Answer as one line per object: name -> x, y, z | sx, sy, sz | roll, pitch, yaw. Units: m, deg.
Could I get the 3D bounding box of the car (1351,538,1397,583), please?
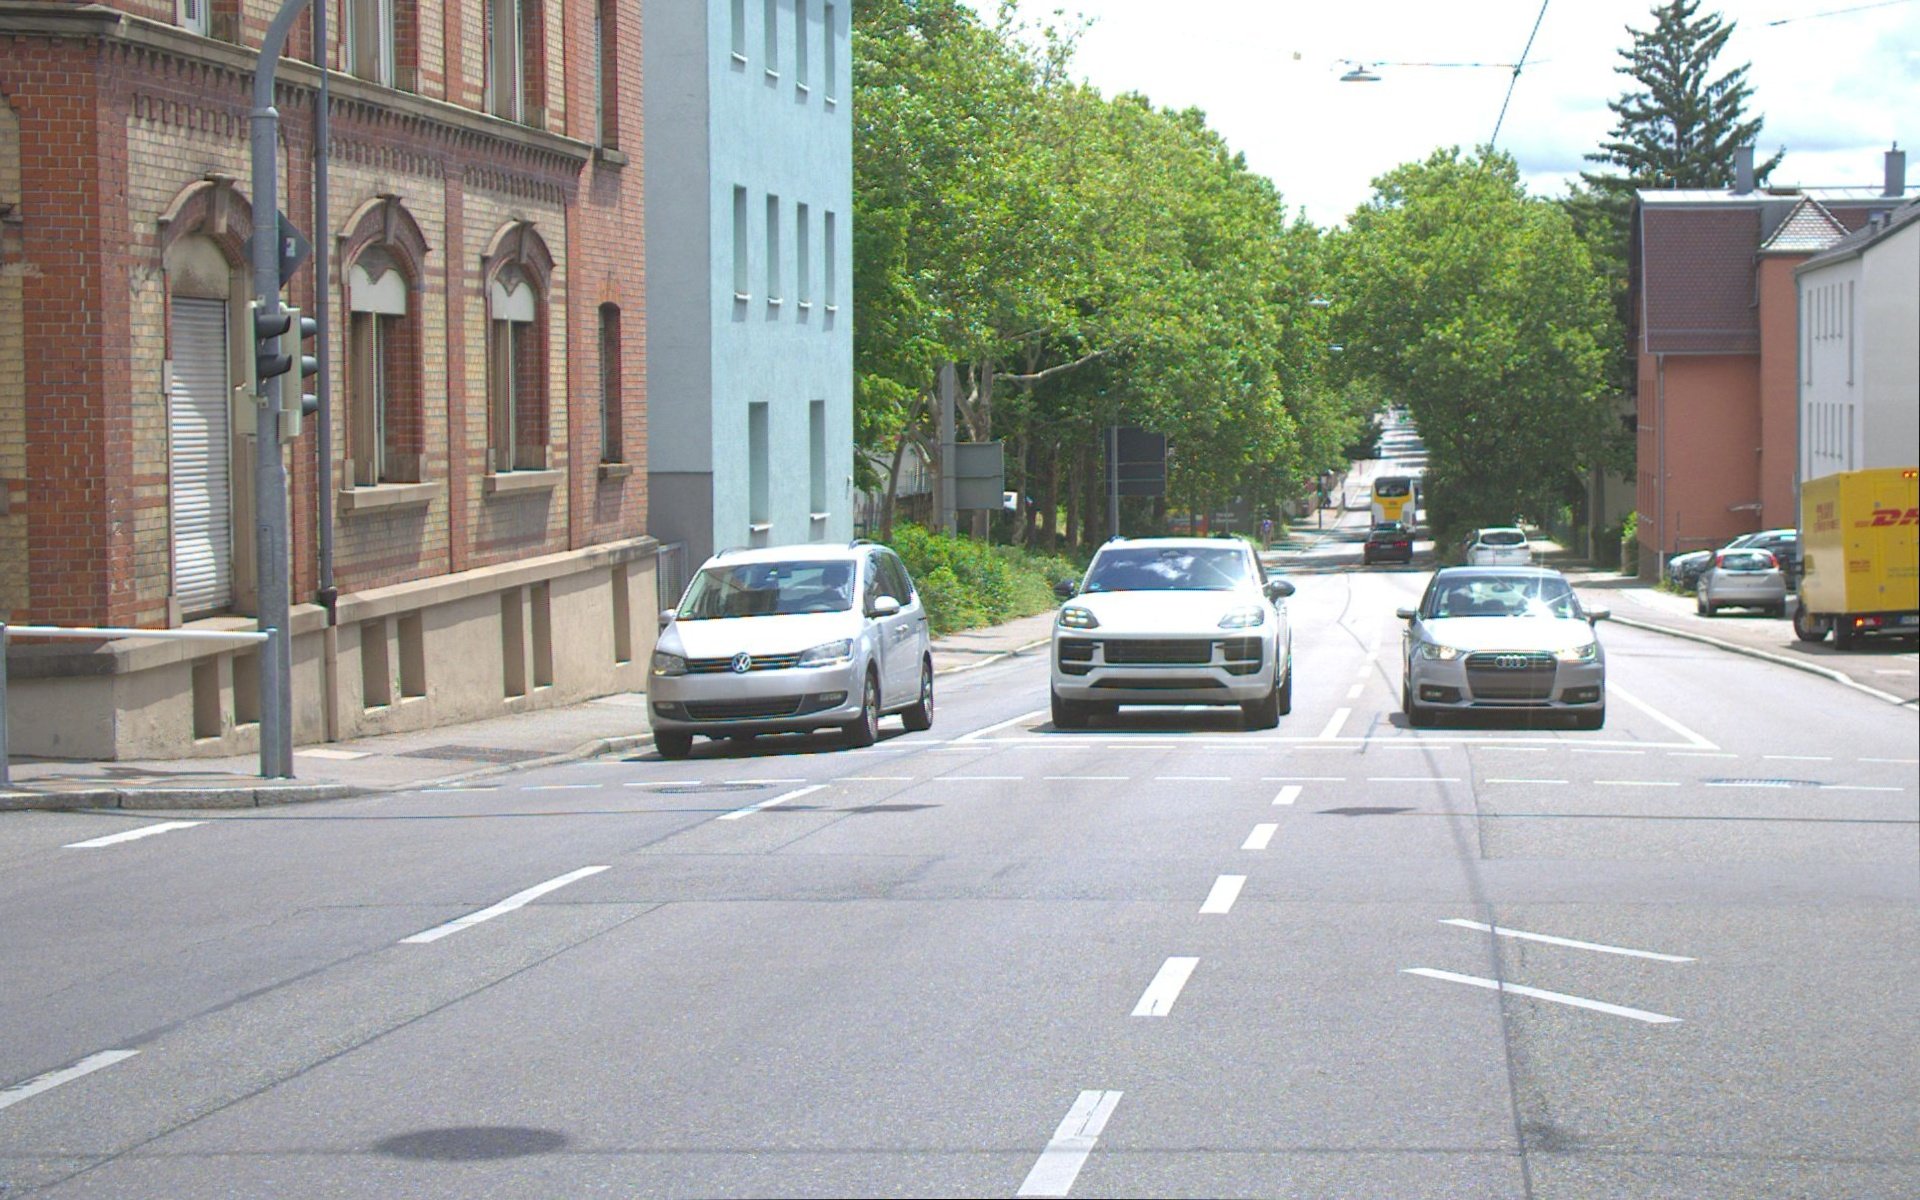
car -> 16.999, -1.640, 141.030 | 1.820, 1.778, 3.999 | -1, 1, 7

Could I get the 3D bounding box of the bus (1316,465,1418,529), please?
bus -> 23.855, -6.008, 202.080 | 3.299, 3.618, 11.247 | -1, 1, -7

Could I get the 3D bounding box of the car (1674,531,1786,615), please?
car -> 17.100, -0.618, 76.518 | 1.910, 1.810, 3.999 | 0, 1, 5

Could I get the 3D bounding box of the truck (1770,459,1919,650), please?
truck -> 14.822, -0.743, 55.823 | 2.542, 2.903, 6.571 | 1, 1, 7

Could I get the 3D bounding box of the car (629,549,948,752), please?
car -> -1.356, 0.368, 29.102 | 1.936, 1.558, 4.388 | -1, 1, 7

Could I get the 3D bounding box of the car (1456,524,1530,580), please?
car -> 17.538, -1.590, 113.320 | 2.092, 1.824, 4.142 | 0, 1, 4

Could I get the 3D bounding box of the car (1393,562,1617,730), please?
car -> 4.899, 0.368, 31.330 | 1.865, 1.363, 4.546 | -1, 1, 7

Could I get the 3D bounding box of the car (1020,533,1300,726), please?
car -> 1.902, 0.212, 31.279 | 2.208, 1.607, 4.546 | -1, 1, 7
